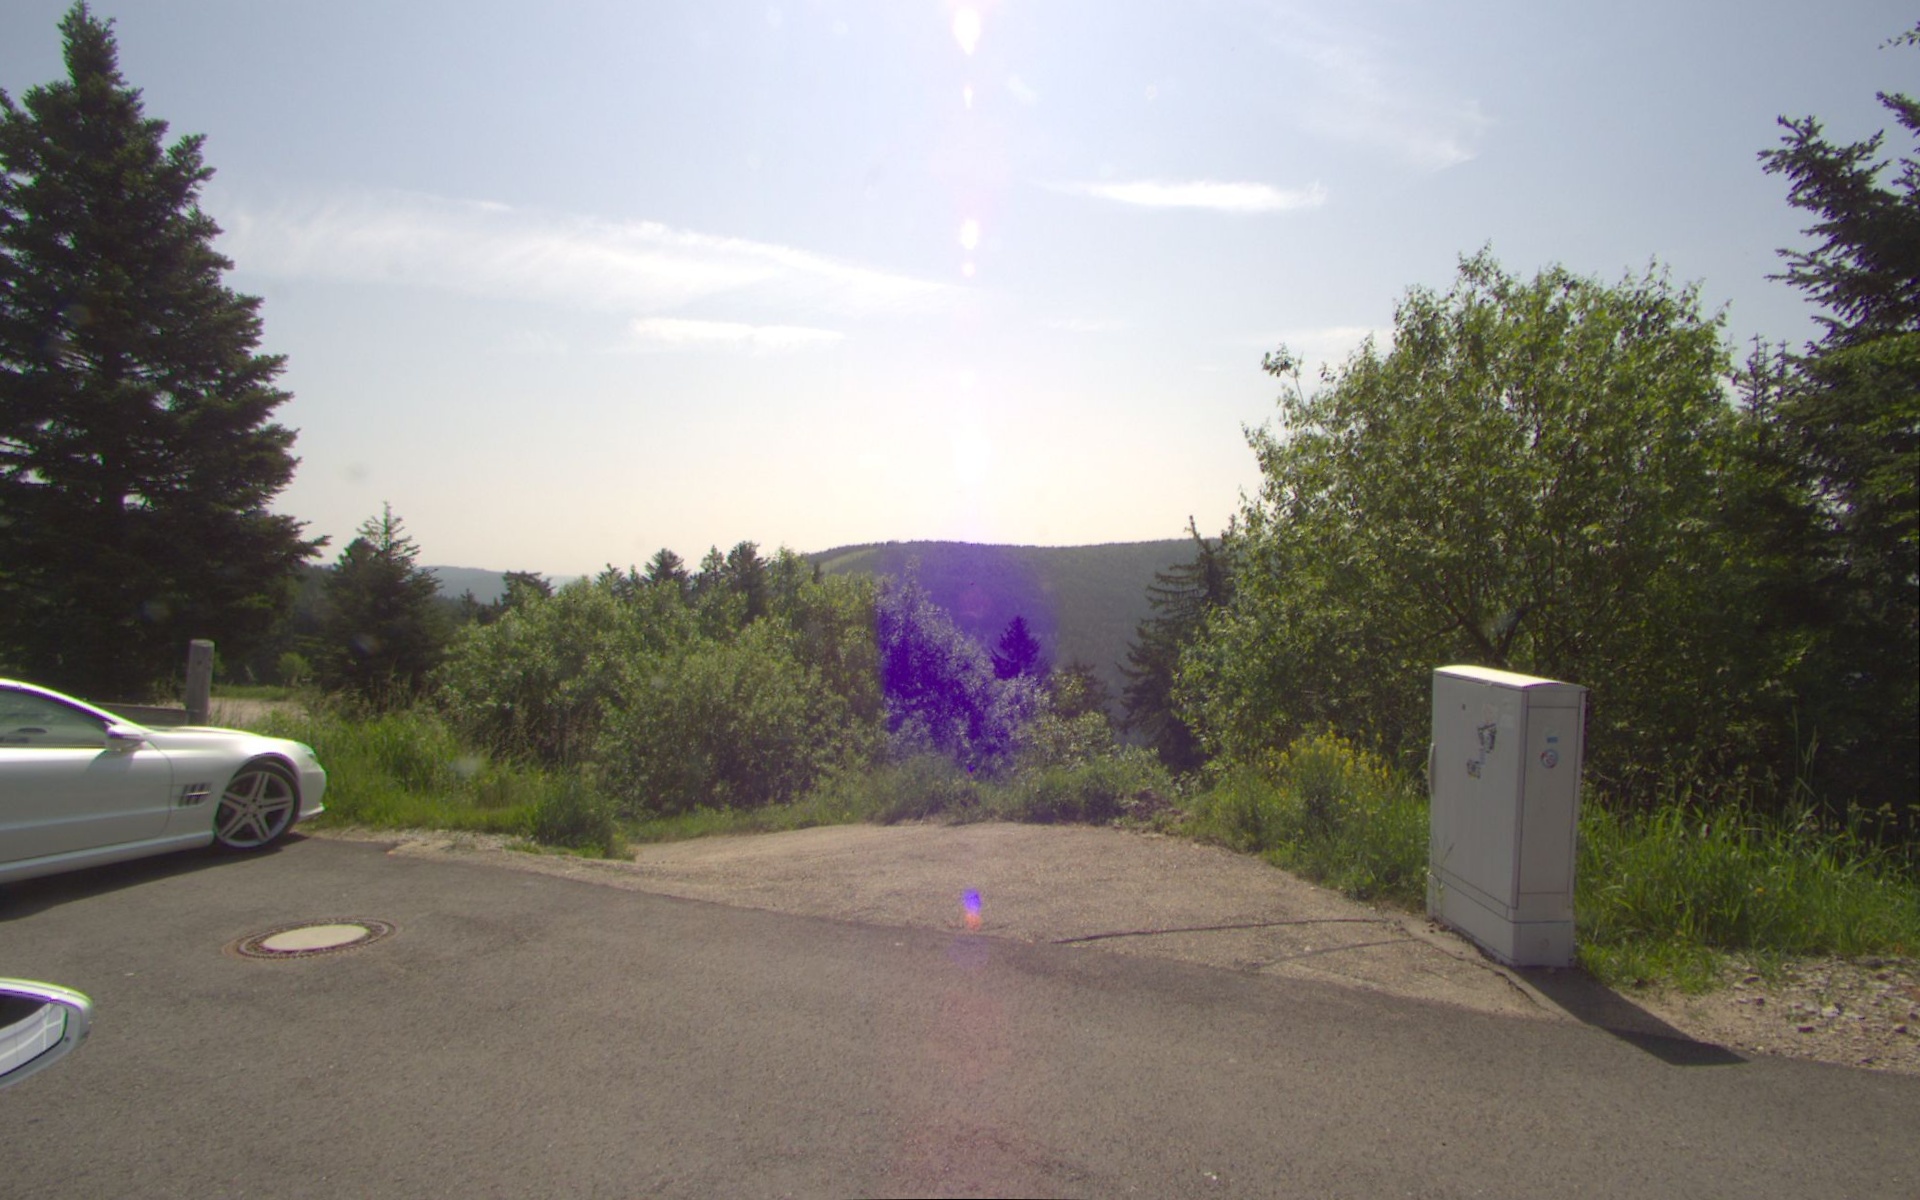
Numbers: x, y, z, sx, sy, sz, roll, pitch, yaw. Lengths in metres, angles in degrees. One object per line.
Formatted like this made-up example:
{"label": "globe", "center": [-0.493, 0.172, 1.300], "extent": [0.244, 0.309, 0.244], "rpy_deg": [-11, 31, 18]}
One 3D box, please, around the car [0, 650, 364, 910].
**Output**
{"label": "car", "center": [-5.827, 0.971, 5.774], "extent": [1.722, 1.312, 4.415], "rpy_deg": [1, -3, 7]}
